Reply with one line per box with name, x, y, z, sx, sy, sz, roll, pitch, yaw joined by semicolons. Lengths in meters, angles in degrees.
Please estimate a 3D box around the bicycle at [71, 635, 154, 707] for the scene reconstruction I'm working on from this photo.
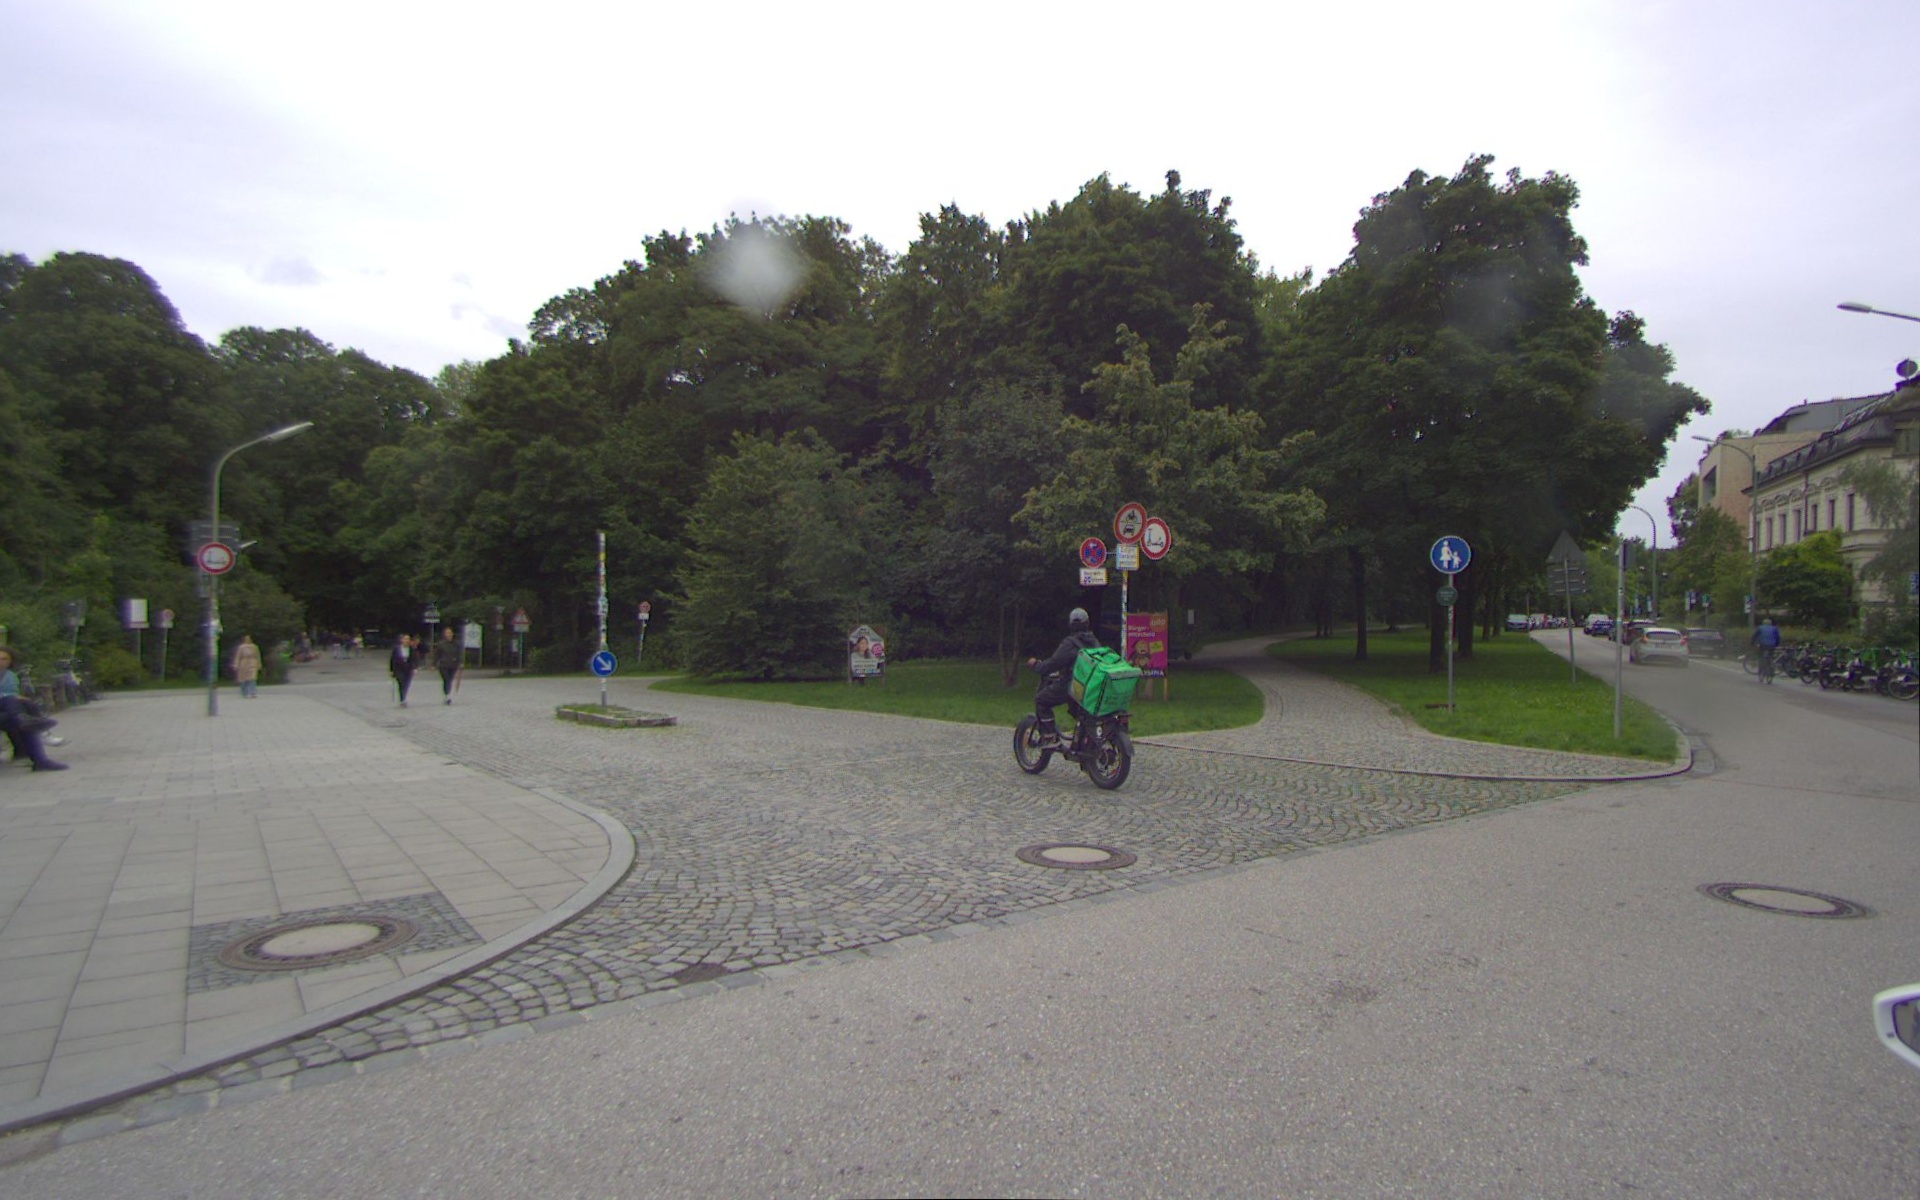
bicycle;-22.153;1.803;26.223;3.103;1.684;1.048;0;-1;38

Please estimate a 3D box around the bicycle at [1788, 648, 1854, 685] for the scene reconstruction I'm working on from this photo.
bicycle;24.399;1.881;28.480;1.507;1.028;0.409;0;-1;-1

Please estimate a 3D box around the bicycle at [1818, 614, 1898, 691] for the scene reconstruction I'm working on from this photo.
bicycle;23.996;1.394;26.840;1.643;2.040;0.457;0;-1;4

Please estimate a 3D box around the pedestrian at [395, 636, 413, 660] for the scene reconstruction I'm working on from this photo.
pedestrian;-39.056;3.336;70.547;0.867;1.674;0.731;0;-1;-12

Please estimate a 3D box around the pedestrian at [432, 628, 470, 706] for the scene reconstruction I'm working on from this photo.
pedestrian;-11.495;1.497;22.663;0.654;1.720;0.744;1;-1;-35

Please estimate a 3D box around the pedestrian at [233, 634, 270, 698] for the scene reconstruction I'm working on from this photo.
pedestrian;-20.053;1.845;28.413;0.743;1.728;1.099;1;-1;-40

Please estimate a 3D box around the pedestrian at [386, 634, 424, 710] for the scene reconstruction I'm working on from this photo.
pedestrian;-12.220;1.563;22.109;0.684;1.602;0.745;1;-1;-33

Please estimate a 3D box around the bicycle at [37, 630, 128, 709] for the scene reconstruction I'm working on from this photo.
bicycle;-20.762;1.585;23.740;3.103;1.684;1.048;0;-1;38

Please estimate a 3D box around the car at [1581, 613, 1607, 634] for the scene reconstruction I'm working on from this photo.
car;61.755;2.256;97.909;2.036;1.992;4.966;0;-1;31

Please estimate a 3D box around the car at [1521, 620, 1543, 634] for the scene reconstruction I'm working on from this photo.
car;68.521;3.219;120.303;1.966;1.622;4.456;0;-1;33

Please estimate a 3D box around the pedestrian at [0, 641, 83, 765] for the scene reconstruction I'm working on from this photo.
pedestrian;-10.930;1.178;11.714;1.025;1.353;0.943;1;-1;-43

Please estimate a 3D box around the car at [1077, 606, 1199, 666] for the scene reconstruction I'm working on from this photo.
car;6.264;1.271;35.528;3.924;2.040;1.786;1;-1;-6

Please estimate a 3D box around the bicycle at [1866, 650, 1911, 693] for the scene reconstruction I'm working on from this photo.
bicycle;23.433;1.790;25.339;1.519;1.028;0.364;1;-1;-29

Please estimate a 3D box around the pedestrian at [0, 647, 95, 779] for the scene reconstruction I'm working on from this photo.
pedestrian;-9.847;1.159;10.441;1.257;1.285;0.840;1;-1;-43

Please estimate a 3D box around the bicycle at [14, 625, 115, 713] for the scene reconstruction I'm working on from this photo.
bicycle;-18.893;1.396;21.158;2.956;1.684;1.048;0;-1;38

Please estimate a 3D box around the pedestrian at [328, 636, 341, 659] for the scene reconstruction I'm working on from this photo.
pedestrian;-42.201;3.178;67.729;0.658;1.514;0.621;1;-1;-40

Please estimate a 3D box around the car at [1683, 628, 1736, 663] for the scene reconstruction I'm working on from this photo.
car;35.979;2.155;48.262;1.623;1.579;3.552;0;-1;30

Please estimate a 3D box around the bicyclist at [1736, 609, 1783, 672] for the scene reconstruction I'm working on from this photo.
bicyclist;23.542;1.172;29.595;0.901;1.787;1.213;0;-1;30

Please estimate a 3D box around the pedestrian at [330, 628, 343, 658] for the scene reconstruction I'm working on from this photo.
pedestrian;-42.569;2.953;68.571;0.690;2.040;0.711;0;-1;-37

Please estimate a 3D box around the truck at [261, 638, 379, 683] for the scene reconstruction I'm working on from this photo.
truck;-38.294;3.561;60.204;2.359;2.493;5.478;0;-1;34

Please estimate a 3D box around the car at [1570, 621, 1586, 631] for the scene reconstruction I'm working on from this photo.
car;102.883;4.332;167.181;1.968;1.622;4.450;0;-1;37

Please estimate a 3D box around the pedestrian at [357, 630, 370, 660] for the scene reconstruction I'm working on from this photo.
pedestrian;-41.538;3.142;69.933;0.690;2.040;0.711;0;-1;-37

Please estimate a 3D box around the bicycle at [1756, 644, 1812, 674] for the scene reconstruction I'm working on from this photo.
bicycle;28.875;2.063;35.213;1.506;1.028;0.410;0;-1;13

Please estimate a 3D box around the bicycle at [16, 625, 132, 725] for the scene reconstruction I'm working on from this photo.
bicycle;-16.657;1.342;18.852;3.102;1.684;1.048;0;-1;38

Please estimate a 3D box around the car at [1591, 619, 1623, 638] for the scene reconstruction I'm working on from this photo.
car;57.627;2.517;89.485;1.963;1.622;4.248;0;-1;28

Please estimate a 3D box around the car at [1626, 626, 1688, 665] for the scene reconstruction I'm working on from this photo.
car;27.486;1.770;39.700;1.722;1.425;3.720;0;-1;30

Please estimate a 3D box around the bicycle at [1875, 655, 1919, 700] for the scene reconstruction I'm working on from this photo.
bicycle;22.567;1.815;23.600;1.509;1.028;0.367;-1;-1;28

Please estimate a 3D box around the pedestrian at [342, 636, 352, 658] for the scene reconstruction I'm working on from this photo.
pedestrian;-41.505;3.179;68.003;0.535;1.514;0.537;1;-1;-40

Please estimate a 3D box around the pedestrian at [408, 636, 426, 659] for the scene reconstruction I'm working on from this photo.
pedestrian;-39.400;3.424;72.891;0.721;1.674;0.879;-1;-1;36

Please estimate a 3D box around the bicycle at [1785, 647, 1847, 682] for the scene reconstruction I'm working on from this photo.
bicycle;25.504;1.922;29.943;1.507;1.028;0.409;0;-1;-1

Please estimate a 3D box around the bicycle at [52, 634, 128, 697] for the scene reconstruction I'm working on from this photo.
bicycle;-25.360;1.863;29.247;3.102;1.684;1.048;0;-1;37

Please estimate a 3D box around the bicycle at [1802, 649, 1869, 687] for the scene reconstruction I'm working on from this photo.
bicycle;24.389;1.896;27.976;1.507;1.028;0.409;0;-1;-1

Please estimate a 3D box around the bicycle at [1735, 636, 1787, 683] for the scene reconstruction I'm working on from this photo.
bicycle;23.455;1.725;29.452;0.908;1.269;2.316;0;-1;31

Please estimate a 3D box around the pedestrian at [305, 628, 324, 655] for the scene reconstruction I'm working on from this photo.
pedestrian;-50.038;3.195;77.913;1.045;2.040;1.134;1;-2;-43

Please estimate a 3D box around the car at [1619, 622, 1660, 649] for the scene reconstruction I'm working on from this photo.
car;44.686;2.287;66.111;1.766;1.702;3.995;0;-1;27

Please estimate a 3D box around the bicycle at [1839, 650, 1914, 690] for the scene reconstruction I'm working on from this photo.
bicycle;24.017;1.837;26.335;1.506;1.028;0.367;0;-1;8

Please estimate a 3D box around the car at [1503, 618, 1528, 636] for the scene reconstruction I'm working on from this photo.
car;51.693;2.505;93.461;1.964;1.622;4.460;0;-1;29

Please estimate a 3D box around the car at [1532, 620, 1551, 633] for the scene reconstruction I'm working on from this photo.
car;76.459;3.488;131.979;1.966;1.622;4.456;0;-1;33

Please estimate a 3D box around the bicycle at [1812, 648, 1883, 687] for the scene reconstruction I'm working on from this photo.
bicycle;24.244;1.838;27.450;1.507;1.028;0.409;0;-1;3

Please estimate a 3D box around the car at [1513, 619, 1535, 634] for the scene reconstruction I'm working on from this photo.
car;60.366;2.821;107.556;1.964;1.622;4.460;0;-1;29

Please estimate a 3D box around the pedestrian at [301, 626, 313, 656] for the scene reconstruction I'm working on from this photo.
pedestrian;-44.612;2.788;68.621;0.690;2.040;0.711;0;-1;-37

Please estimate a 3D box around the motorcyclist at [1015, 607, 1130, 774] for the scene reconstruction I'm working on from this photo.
motorcyclist;1.076;0.836;9.712;0.705;1.521;0.892;1;-1;-29

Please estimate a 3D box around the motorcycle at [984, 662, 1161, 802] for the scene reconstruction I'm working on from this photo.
motorcycle;1.038;1.215;9.783;0.710;1.113;1.962;1;-1;-29
